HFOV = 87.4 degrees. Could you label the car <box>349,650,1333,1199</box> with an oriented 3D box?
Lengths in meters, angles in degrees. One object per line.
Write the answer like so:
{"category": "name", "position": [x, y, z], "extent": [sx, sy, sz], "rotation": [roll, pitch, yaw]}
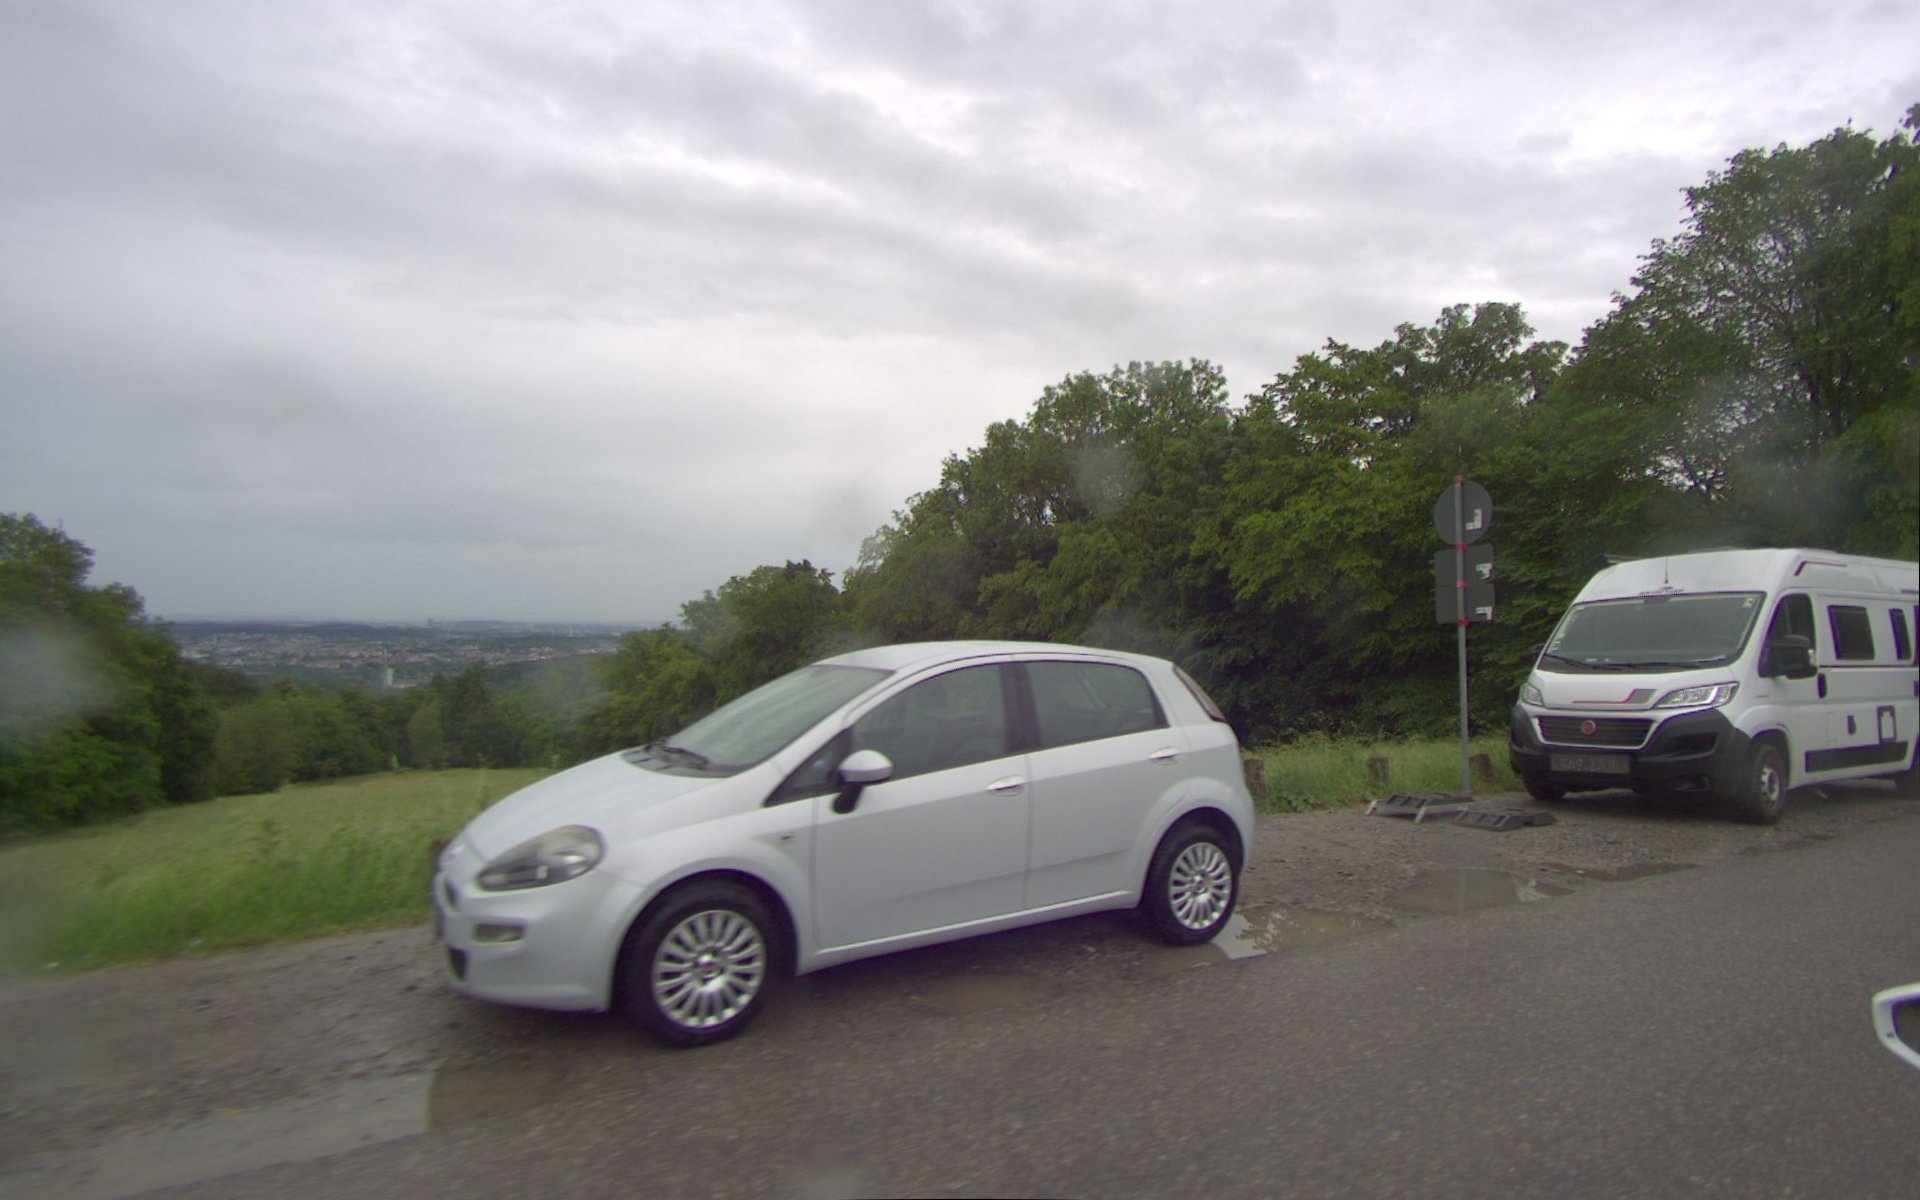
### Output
{"category": "car", "position": [-0.409, 1.108, 5.001], "extent": [4.443, 1.616, 1.853], "rotation": [0, -3, -31]}

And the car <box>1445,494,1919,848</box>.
{"category": "car", "position": [7.883, 0.635, 10.277], "extent": [5.979, 2.731, 2.262], "rotation": [0, -4, -31]}
